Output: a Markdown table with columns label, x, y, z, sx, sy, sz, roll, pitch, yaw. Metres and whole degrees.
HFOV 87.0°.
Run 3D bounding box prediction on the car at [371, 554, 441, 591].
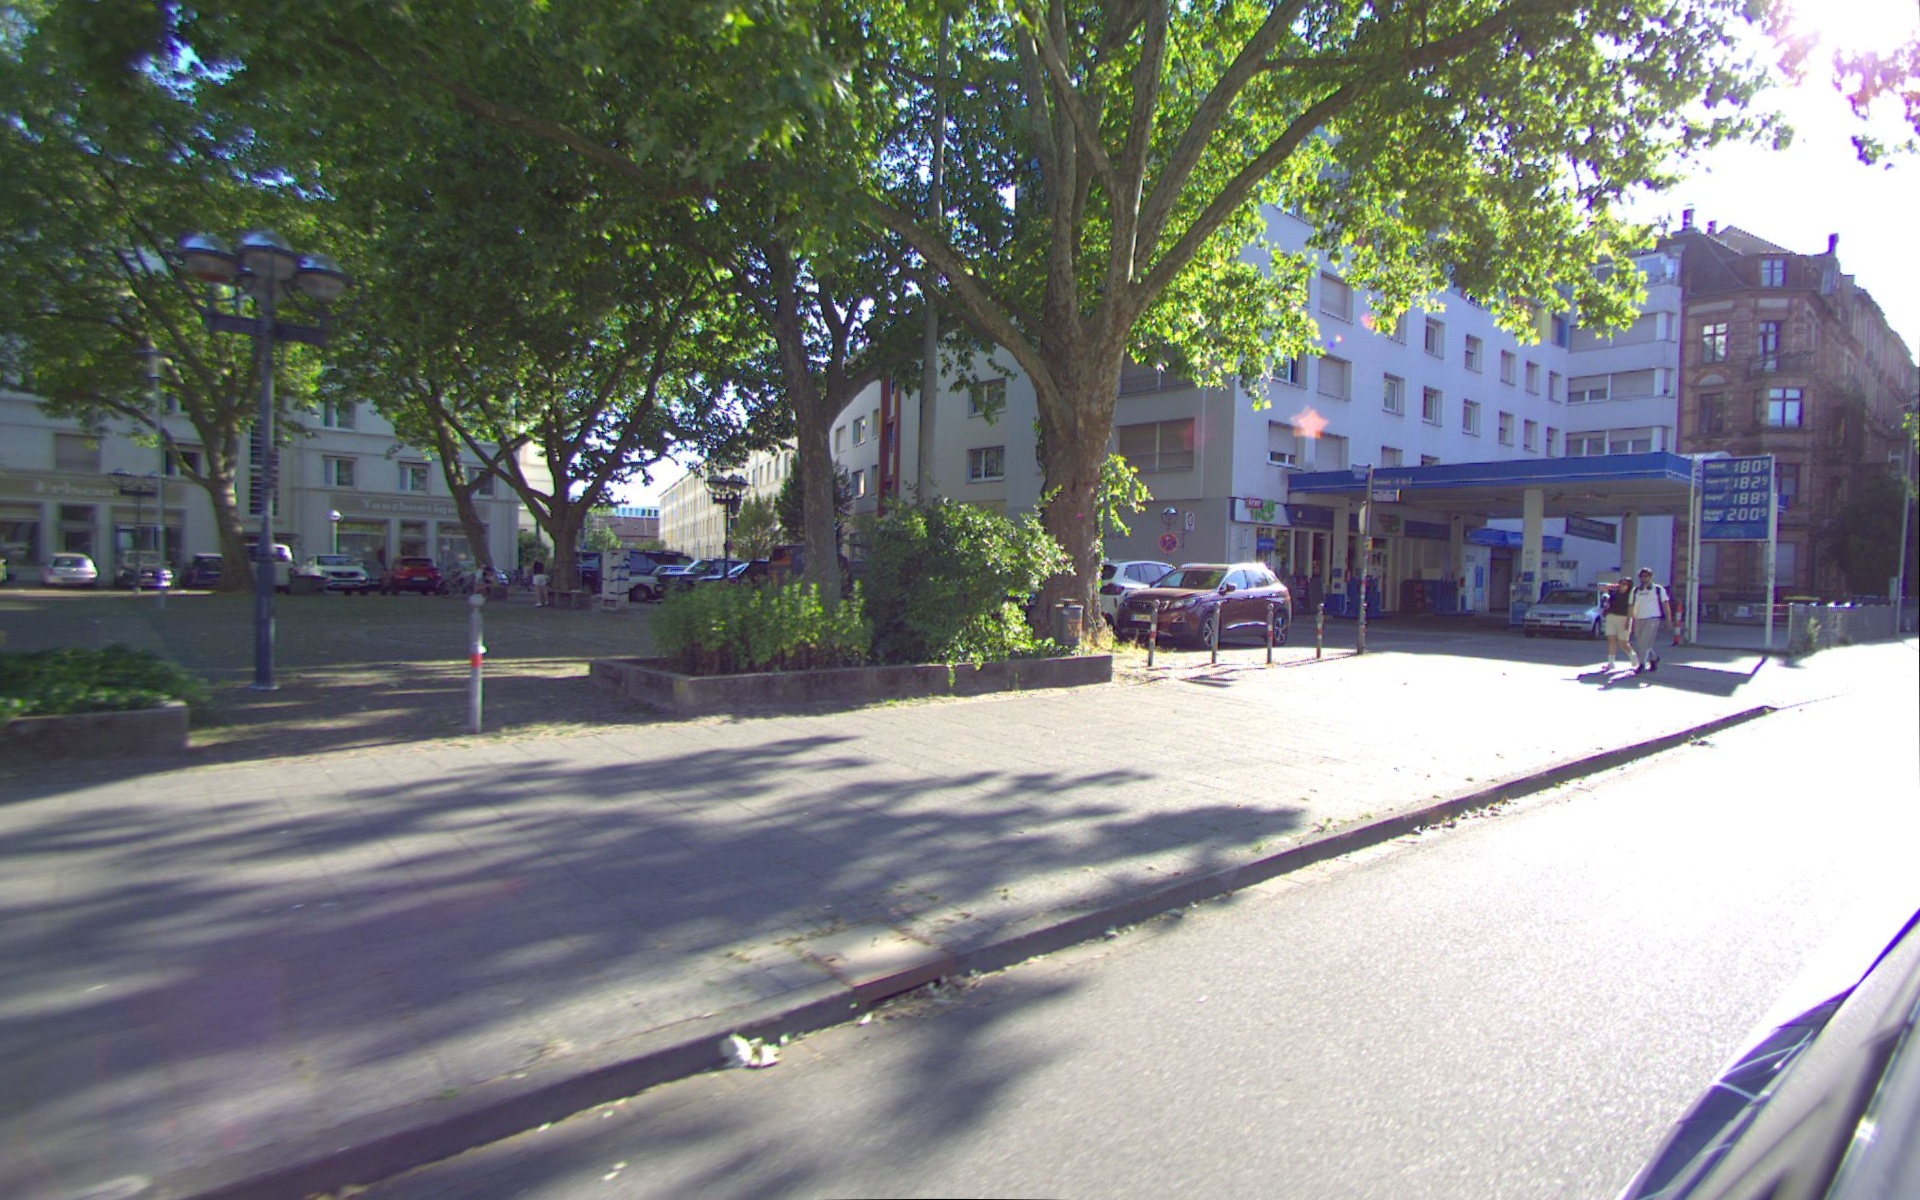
| label | x | y | z | sx | sy | sz | roll | pitch | yaw |
| --- | --- | --- | --- | --- | --- | --- | --- | --- | --- |
| car | -22.452 | -1.081 | 40.959 | 1.747 | 1.426 | 3.994 | -1 | 1 | -40 |

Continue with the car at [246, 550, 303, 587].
| label | x | y | z | sx | sy | sz | roll | pitch | yaw |
| --- | --- | --- | --- | --- | --- | --- | --- | --- | --- |
| car | -32.017 | -1.498 | 47.239 | 1.748 | 1.539 | 4.349 | 0 | 4 | -40 |

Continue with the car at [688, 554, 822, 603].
| label | x | y | z | sx | sy | sz | roll | pitch | yaw |
| --- | --- | --- | --- | --- | --- | --- | --- | --- | --- |
| car | -6.787 | -0.690 | 33.738 | 4.111 | 1.521 | 1.707 | 0 | 1 | -44 |

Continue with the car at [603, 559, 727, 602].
| label | x | y | z | sx | sy | sz | roll | pitch | yaw |
| --- | --- | --- | --- | --- | --- | --- | --- | --- | --- |
| car | -10.911 | -0.702 | 37.607 | 4.111 | 1.521 | 1.707 | 0 | 1 | -44 |

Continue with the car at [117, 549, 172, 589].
| label | x | y | z | sx | sy | sz | roll | pitch | yaw |
| --- | --- | --- | --- | --- | --- | --- | --- | --- | --- |
| car | -35.189 | -1.373 | 43.643 | 1.748 | 1.498 | 4.349 | 0 | 4 | -40 |

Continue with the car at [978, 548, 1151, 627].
| label | x | y | z | sx | sy | sz | roll | pitch | yaw |
| --- | --- | --- | --- | --- | --- | --- | --- | --- | --- |
| car | 2.496 | -0.278 | 23.516 | 4.111 | 1.680 | 1.803 | 0 | 1 | -44 |

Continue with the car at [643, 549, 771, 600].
| label | x | y | z | sx | sy | sz | roll | pitch | yaw |
| --- | --- | --- | --- | --- | --- | --- | --- | --- | --- |
| car | -8.910 | -0.858 | 35.823 | 4.111 | 1.681 | 1.707 | 0 | 1 | -44 |

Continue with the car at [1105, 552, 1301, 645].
| label | x | y | z | sx | sy | sz | roll | pitch | yaw |
| --- | --- | --- | --- | --- | --- | --- | --- | --- | --- |
| car | 4.822 | -0.037 | 19.772 | 4.111 | 1.620 | 1.803 | 0 | 1 | -44 |

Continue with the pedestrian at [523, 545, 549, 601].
| label | x | y | z | sx | sy | sz | roll | pitch | yaw |
| --- | --- | --- | --- | --- | --- | --- | --- | --- | --- |
| pedestrian | -12.596 | -0.798 | 30.065 | 0.620 | 1.633 | 0.540 | 0 | 0 | -36 |

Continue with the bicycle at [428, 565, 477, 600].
| label | x | y | z | sx | sy | sz | roll | pitch | yaw |
| --- | --- | --- | --- | --- | --- | --- | --- | --- | --- |
| bicycle | -18.351 | -0.634 | 36.606 | 1.527 | 1.242 | 0.632 | 0 | 0 | -33 |

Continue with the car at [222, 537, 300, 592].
| label | x | y | z | sx | sy | sz | roll | pitch | yaw |
| --- | --- | --- | --- | --- | --- | --- | --- | --- | --- |
| car | -26.027 | -1.263 | 37.635 | 2.012 | 1.940 | 3.994 | 0 | 0 | -40 |

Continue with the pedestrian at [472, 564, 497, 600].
| label | x | y | z | sx | sy | sz | roll | pitch | yaw |
| --- | --- | --- | --- | --- | --- | --- | --- | --- | --- |
| pedestrian | -16.474 | -0.629 | 35.086 | 0.626 | 1.242 | 0.534 | 0 | 0 | 32 |

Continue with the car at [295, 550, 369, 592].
| label | x | y | z | sx | sy | sz | roll | pitch | yaw |
| --- | --- | --- | --- | --- | --- | --- | --- | --- | --- |
| car | -24.412 | -1.087 | 39.291 | 1.888 | 1.541 | 3.994 | -1 | 0 | -40 |

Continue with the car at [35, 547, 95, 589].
| label | x | y | z | sx | sy | sz | roll | pitch | yaw |
| --- | --- | --- | --- | --- | --- | --- | --- | --- | --- |
| car | -37.360 | -1.363 | 42.325 | 1.748 | 1.498 | 4.349 | 0 | 4 | -40 |

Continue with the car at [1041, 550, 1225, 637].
| label | x | y | z | sx | sy | sz | roll | pitch | yaw |
| --- | --- | --- | --- | --- | --- | --- | --- | --- | --- |
| car | 3.786 | -0.143 | 21.724 | 4.111 | 1.680 | 1.803 | 0 | 1 | -44 |

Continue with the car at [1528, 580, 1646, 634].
| label | x | y | z | sx | sy | sz | roll | pitch | yaw |
| --- | --- | --- | --- | --- | --- | --- | --- | --- | --- |
| car | 17.018 | 0.154 | 27.414 | 3.688 | 1.343 | 1.719 | -1 | 0 | -41 |

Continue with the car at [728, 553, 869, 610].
| label | x | y | z | sx | sy | sz | roll | pitch | yaw |
| --- | --- | --- | --- | --- | --- | --- | --- | --- | --- |
| car | -5.057 | -0.552 | 32.071 | 4.111 | 1.680 | 1.803 | 0 | 1 | -44 |

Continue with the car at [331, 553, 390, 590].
| label | x | y | z | sx | sy | sz | roll | pitch | yaw |
| --- | --- | --- | --- | --- | --- | --- | --- | --- | --- |
| car | -29.020 | -1.387 | 48.921 | 1.748 | 1.539 | 4.349 | 0 | 4 | -40 |

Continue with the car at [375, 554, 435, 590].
| label | x | y | z | sx | sy | sz | roll | pitch | yaw |
| --- | --- | --- | --- | --- | --- | --- | --- | --- | --- |
| car | -27.461 | -1.387 | 50.018 | 1.748 | 1.539 | 4.349 | 0 | 4 | -40 |

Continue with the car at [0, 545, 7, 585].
| label | x | y | z | sx | sy | sz | roll | pitch | yaw |
| --- | --- | --- | --- | --- | --- | --- | --- | --- | --- |
| car | -39.163 | -1.405 | 40.116 | 1.748 | 1.498 | 4.349 | 0 | 4 | -40 |

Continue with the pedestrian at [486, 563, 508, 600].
| label | x | y | z | sx | sy | sz | roll | pitch | yaw |
| --- | --- | --- | --- | --- | --- | --- | --- | --- | --- |
| pedestrian | -15.896 | -0.629 | 34.742 | 0.618 | 1.242 | 0.541 | 0 | 0 | -15 |

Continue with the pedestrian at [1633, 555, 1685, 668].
| label | x | y | z | sx | sy | sz | roll | pitch | yaw |
| --- | --- | --- | --- | --- | --- | --- | --- | --- | --- |
| pedestrian | 11.869 | 0.185 | 17.184 | 0.531 | 1.867 | 0.630 | 0 | 0 | -43 |

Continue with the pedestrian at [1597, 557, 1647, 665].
| label | x | y | z | sx | sy | sz | roll | pitch | yaw |
| --- | --- | --- | --- | --- | --- | --- | --- | --- | --- |
| pedestrian | 11.716 | 0.179 | 17.904 | 0.531 | 1.867 | 0.630 | 0 | 0 | -43 |

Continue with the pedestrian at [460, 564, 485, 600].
| label | x | y | z | sx | sy | sz | roll | pitch | yaw |
| --- | --- | --- | --- | --- | --- | --- | --- | --- | --- |
| pedestrian | -17.084 | -0.630 | 35.449 | 0.626 | 1.242 | 0.534 | 0 | 0 | 32 |

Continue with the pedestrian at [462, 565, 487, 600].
| label | x | y | z | sx | sy | sz | roll | pitch | yaw |
| --- | --- | --- | --- | --- | --- | --- | --- | --- | --- |
| pedestrian | -17.458 | -0.637 | 36.394 | 0.624 | 1.242 | 0.536 | 0 | 0 | 24 |

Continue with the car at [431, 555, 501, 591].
| label | x | y | z | sx | sy | sz | roll | pitch | yaw |
| --- | --- | --- | --- | --- | --- | --- | --- | --- | --- |
| car | -20.849 | -1.106 | 42.620 | 1.747 | 1.426 | 3.994 | -1 | 1 | -40 |

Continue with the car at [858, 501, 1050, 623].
| label | x | y | z | sx | sy | sz | roll | pitch | yaw |
| --- | --- | --- | --- | --- | --- | --- | --- | --- | --- |
| car | -0.073 | -0.888 | 25.358 | 4.632 | 2.776 | 1.997 | -1 | 0 | -41 |

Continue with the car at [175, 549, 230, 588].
| label | x | y | z | sx | sy | sz | roll | pitch | yaw |
| --- | --- | --- | --- | --- | --- | --- | --- | --- | --- |
| car | -34.169 | -1.446 | 45.603 | 1.748 | 1.539 | 4.349 | 0 | 4 | -40 |

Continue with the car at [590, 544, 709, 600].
| label | x | y | z | sx | sy | sz | roll | pitch | yaw |
| --- | --- | --- | --- | --- | --- | --- | --- | --- | --- |
| car | -12.130 | -1.055 | 39.666 | 4.111 | 2.053 | 1.707 | 0 | 1 | -44 |
